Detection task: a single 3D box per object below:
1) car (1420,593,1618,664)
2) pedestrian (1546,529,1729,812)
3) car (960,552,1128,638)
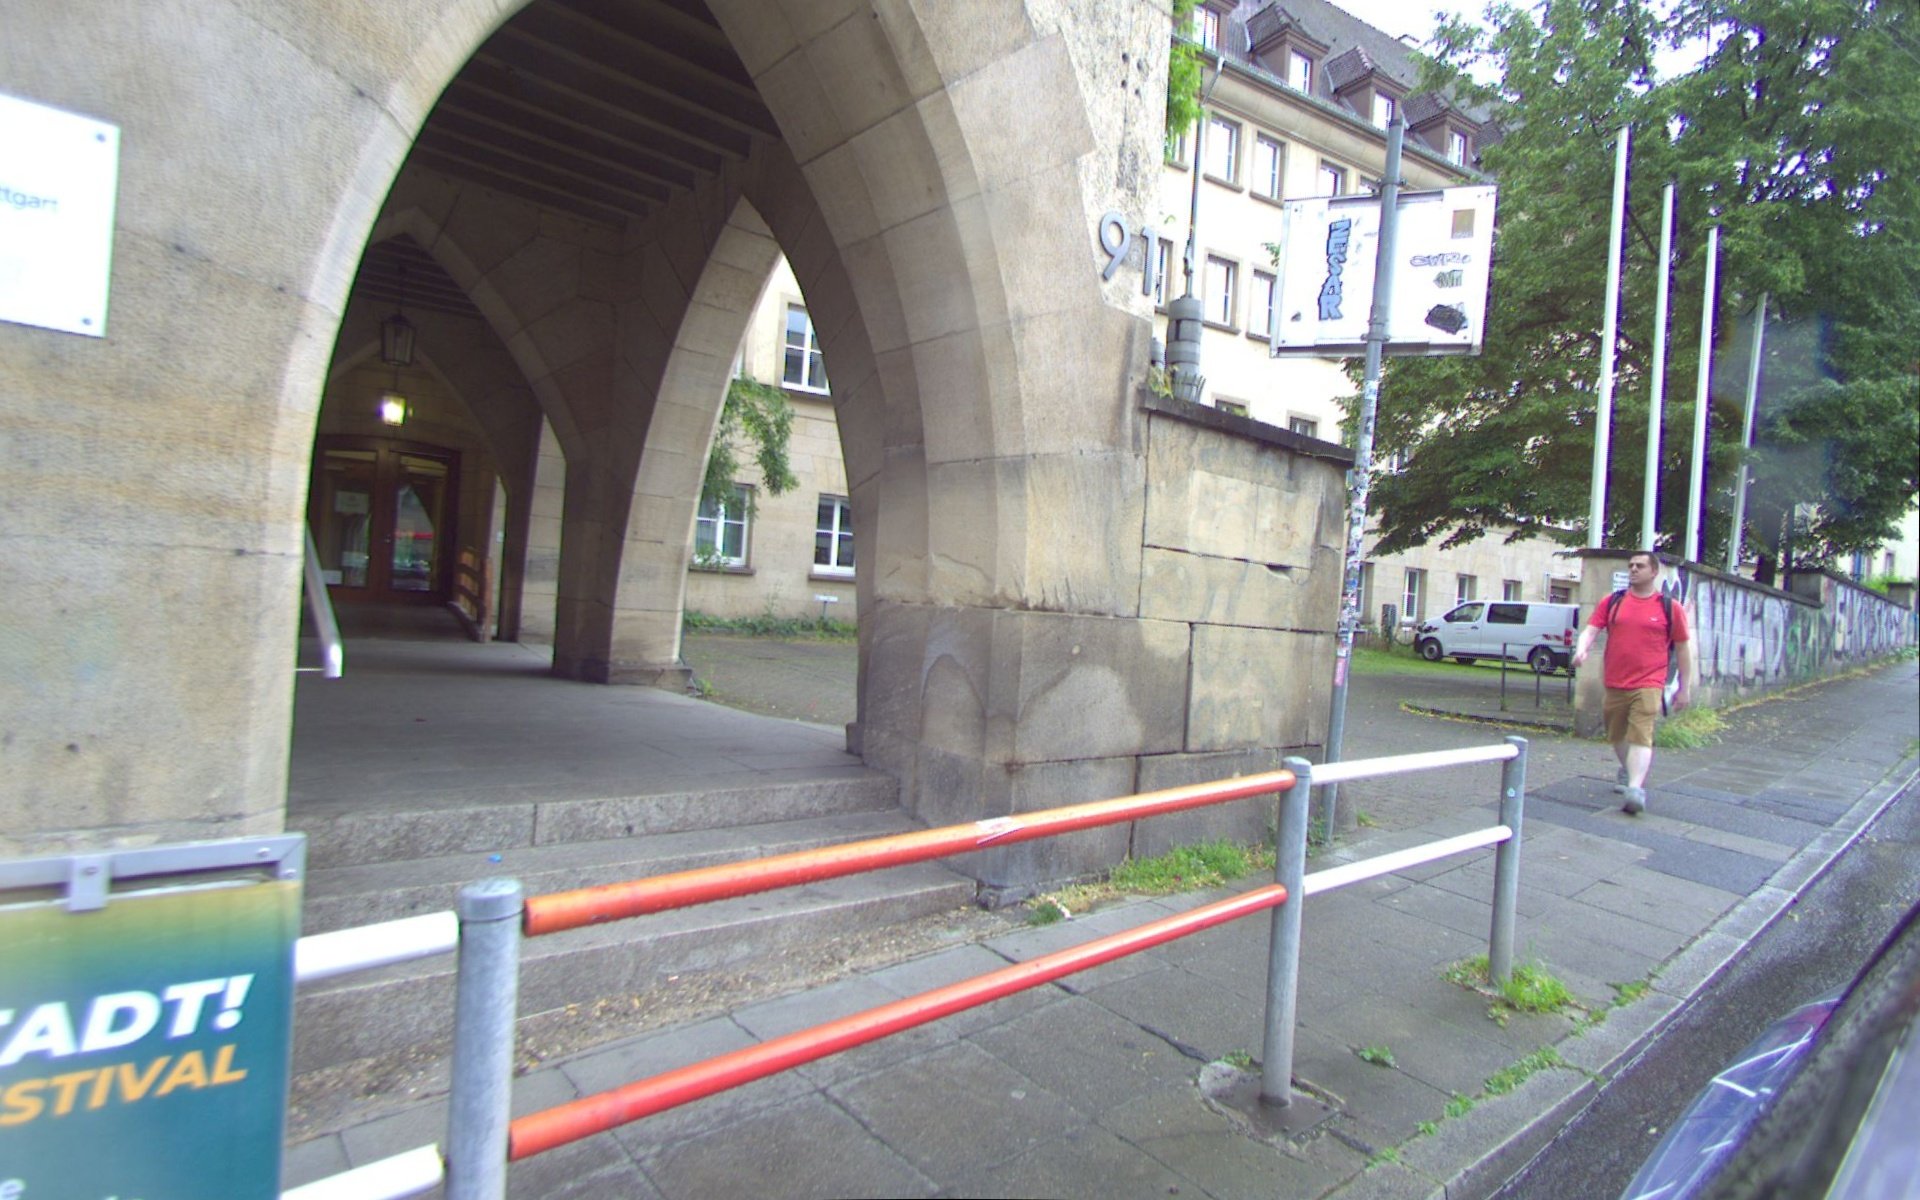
[{"bbox_3d":[15.385,0.717,28.123,1.786,1.802,4.538,0,0,-29],"label":"car"},{"bbox_3d":[4.661,0.437,6.969,0.804,1.785,0.748,1,3,-41],"label":"pedestrian"},{"bbox_3d":[1.511,-0.091,19.684,1.579,1.488,3.923,0,0,-24],"label":"car"}]
